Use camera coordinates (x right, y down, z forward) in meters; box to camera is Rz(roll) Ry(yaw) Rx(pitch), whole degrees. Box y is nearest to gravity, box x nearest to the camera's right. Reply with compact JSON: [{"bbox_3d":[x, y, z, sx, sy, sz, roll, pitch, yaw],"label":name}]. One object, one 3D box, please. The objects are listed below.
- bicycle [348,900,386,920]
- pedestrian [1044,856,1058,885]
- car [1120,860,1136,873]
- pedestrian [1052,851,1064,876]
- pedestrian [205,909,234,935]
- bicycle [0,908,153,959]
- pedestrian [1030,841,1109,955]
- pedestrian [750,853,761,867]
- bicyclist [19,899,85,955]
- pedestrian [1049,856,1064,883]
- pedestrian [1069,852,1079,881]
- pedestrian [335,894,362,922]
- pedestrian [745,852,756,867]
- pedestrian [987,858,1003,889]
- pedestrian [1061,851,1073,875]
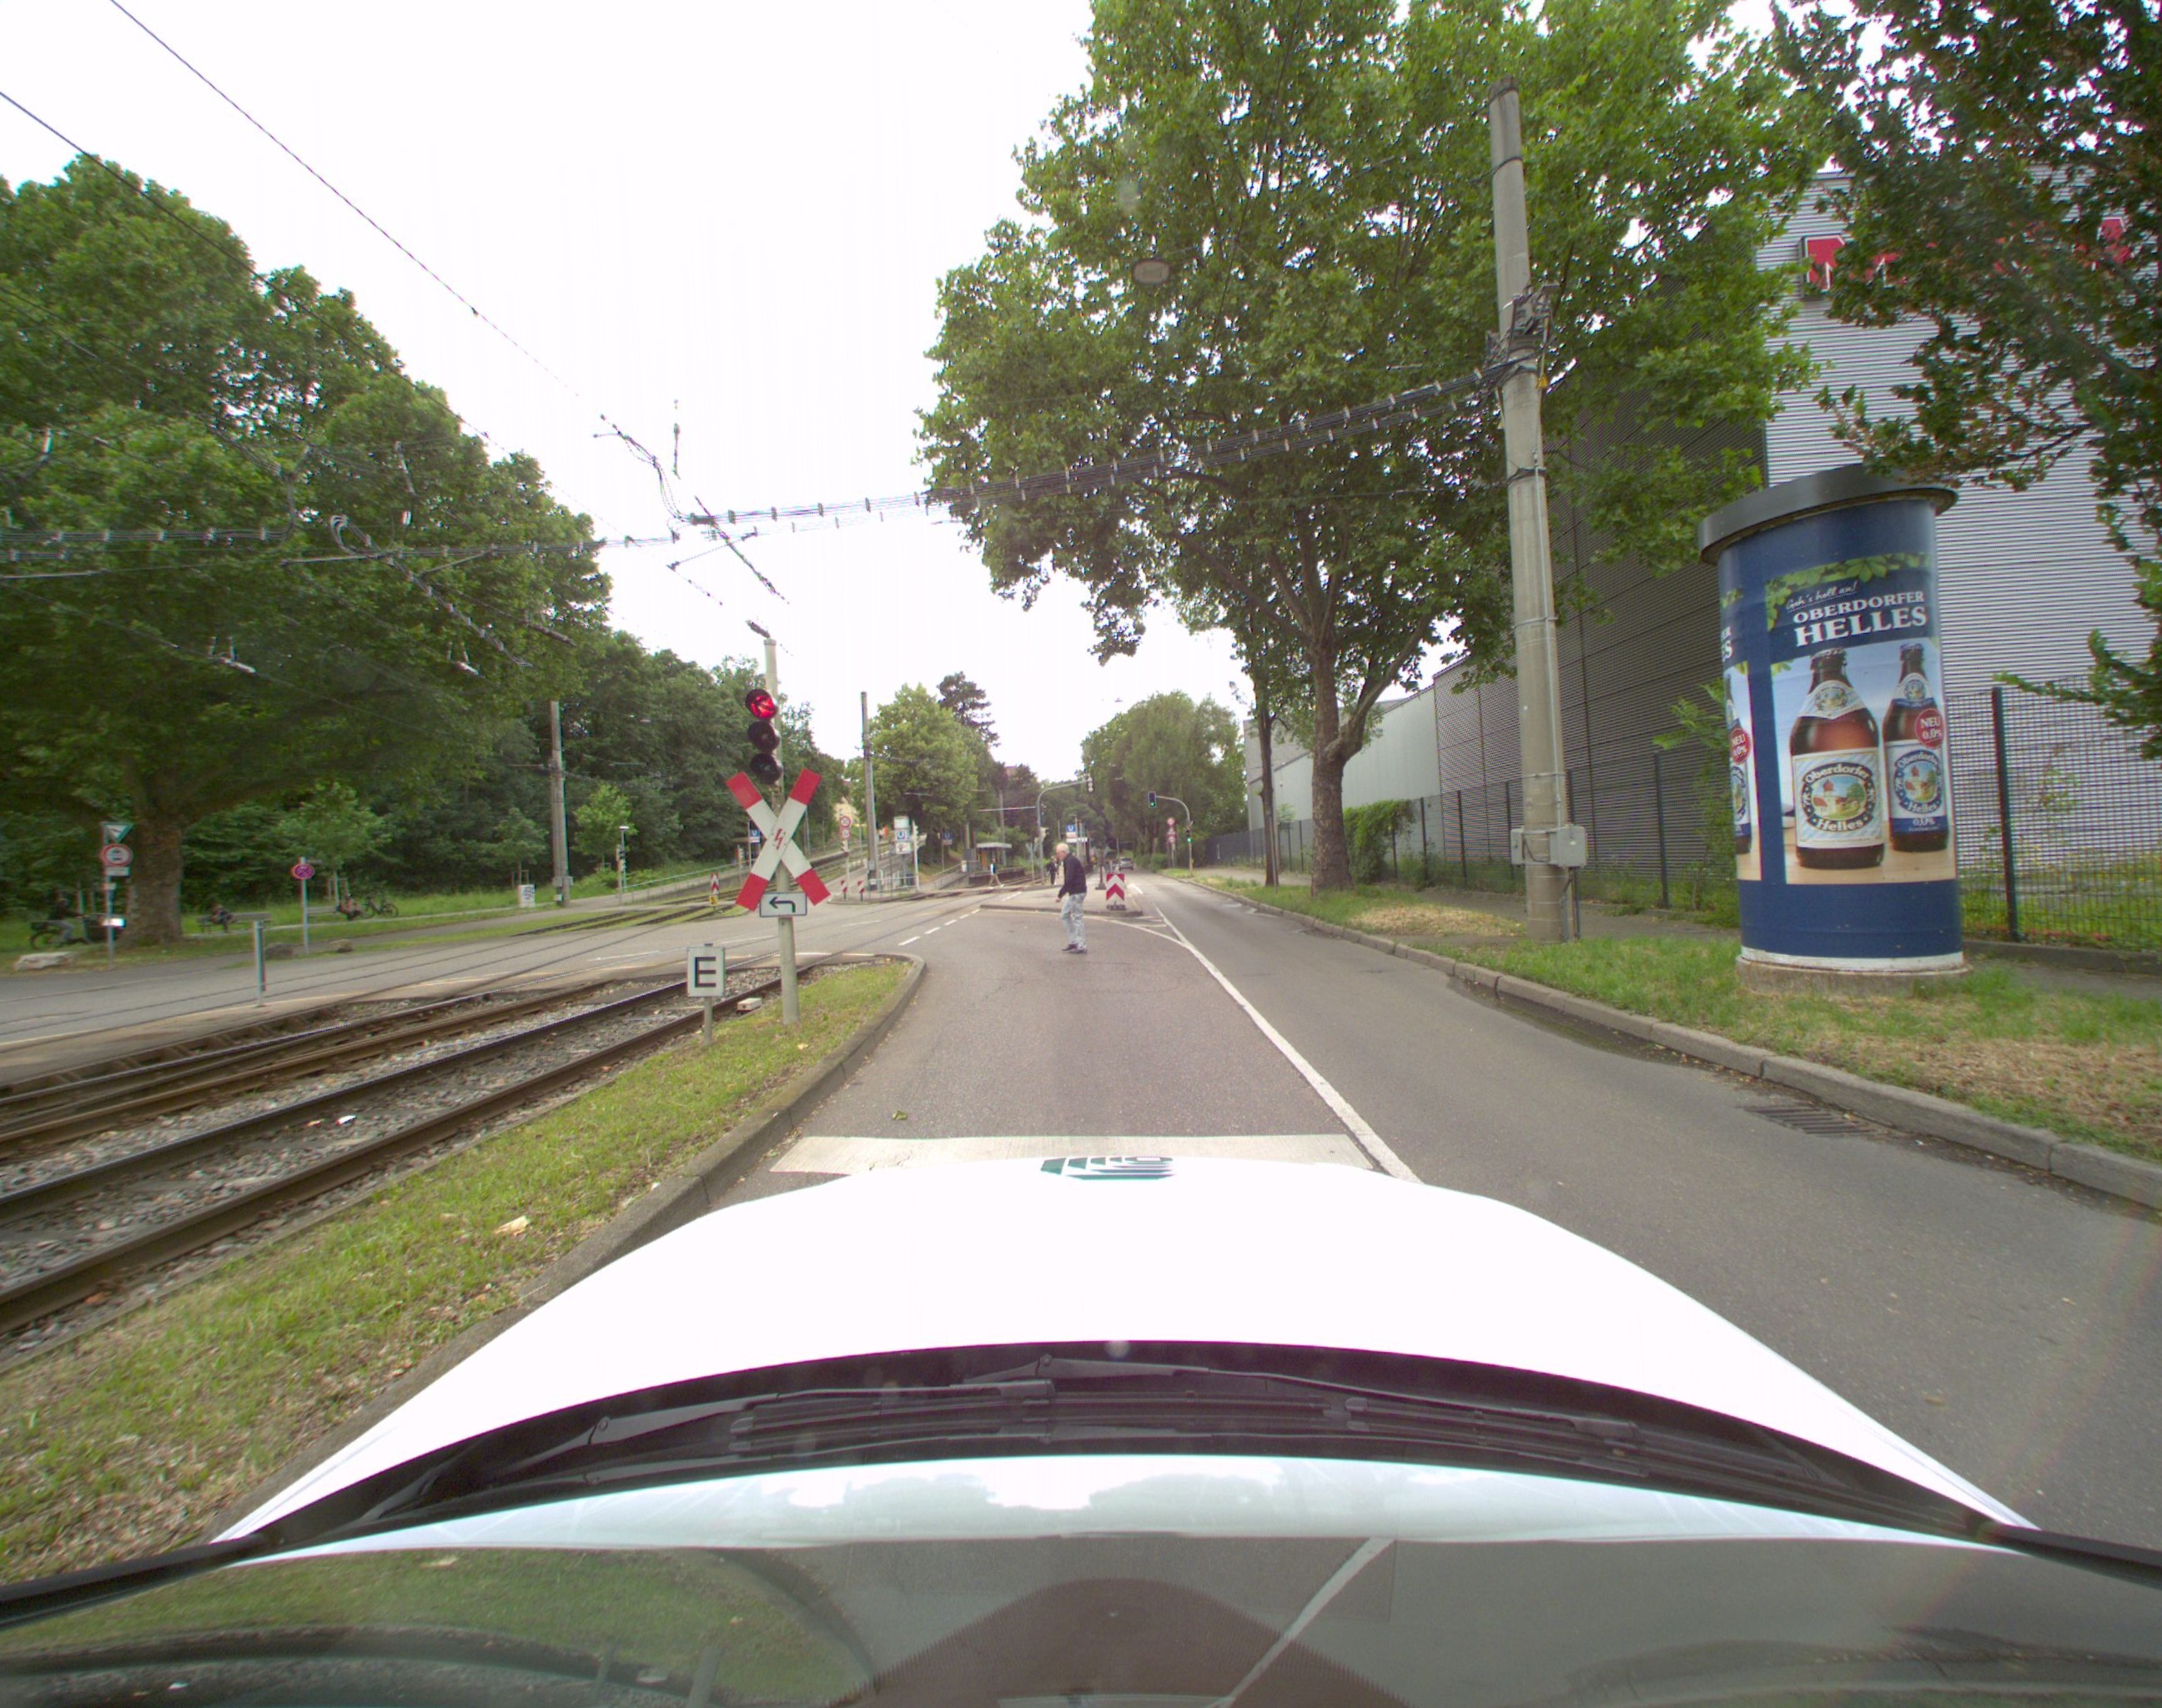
[{"bbox_3d":[-33.494,2.621,38.204,1.726,0.885,0.625,-1,-1,21],"label":"bicycle"},{"bbox_3d":[-1.727,0.954,47.241,0.732,1.665,0.682,0,-1,3],"label":"pedestrian"},{"bbox_3d":[5.743,1.547,99.848,1.737,1.599,4.001,0,-1,2],"label":"car"},{"bbox_3d":[-1.576,0.656,55.146,0.735,1.665,0.679,0,-1,-9],"label":"pedestrian"},{"bbox_3d":[-35.265,2.775,33.340,0.526,0.989,0.623,-1,-1,17],"label":"pedestrian"},{"bbox_3d":[-34.858,2.720,28.303,0.726,1.289,3.368,2,4,38],"label":"bicycle"},{"bbox_3d":[-0.165,0.681,13.056,1.110,1.760,0.815,-1,-1,9],"label":"pedestrian"},{"bbox_3d":[-30.734,0.542,76.928,0.771,1.326,0.785,0,-1,-6],"label":"pedestrian"},{"bbox_3d":[-35.181,2.469,27.854,0.726,1.711,1.301,2,4,38],"label":"bicyclist"},{"bbox_3d":[-1.499,0.929,50.000,0.674,1.665,0.741,-1,-1,17],"label":"pedestrian"},{"bbox_3d":[-0.448,0.777,50.958,0.547,1.758,0.739,0,-1,6],"label":"pedestrian"},{"bbox_3d":[-33.495,2.457,37.243,0.574,1.235,0.676,-1,-1,15],"label":"pedestrian"},{"bbox_3d":[-30.689,0.531,75.619,0.771,1.326,0.785,0,2,-6],"label":"pedestrian"},{"bbox_3d":[-5.055,1.123,47.813,0.805,1.821,0.666,0,-1,-21],"label":"pedestrian"},{"bbox_3d":[-0.976,0.605,55.951,0.735,1.665,0.679,0,-1,-9],"label":"pedestrian"}]
